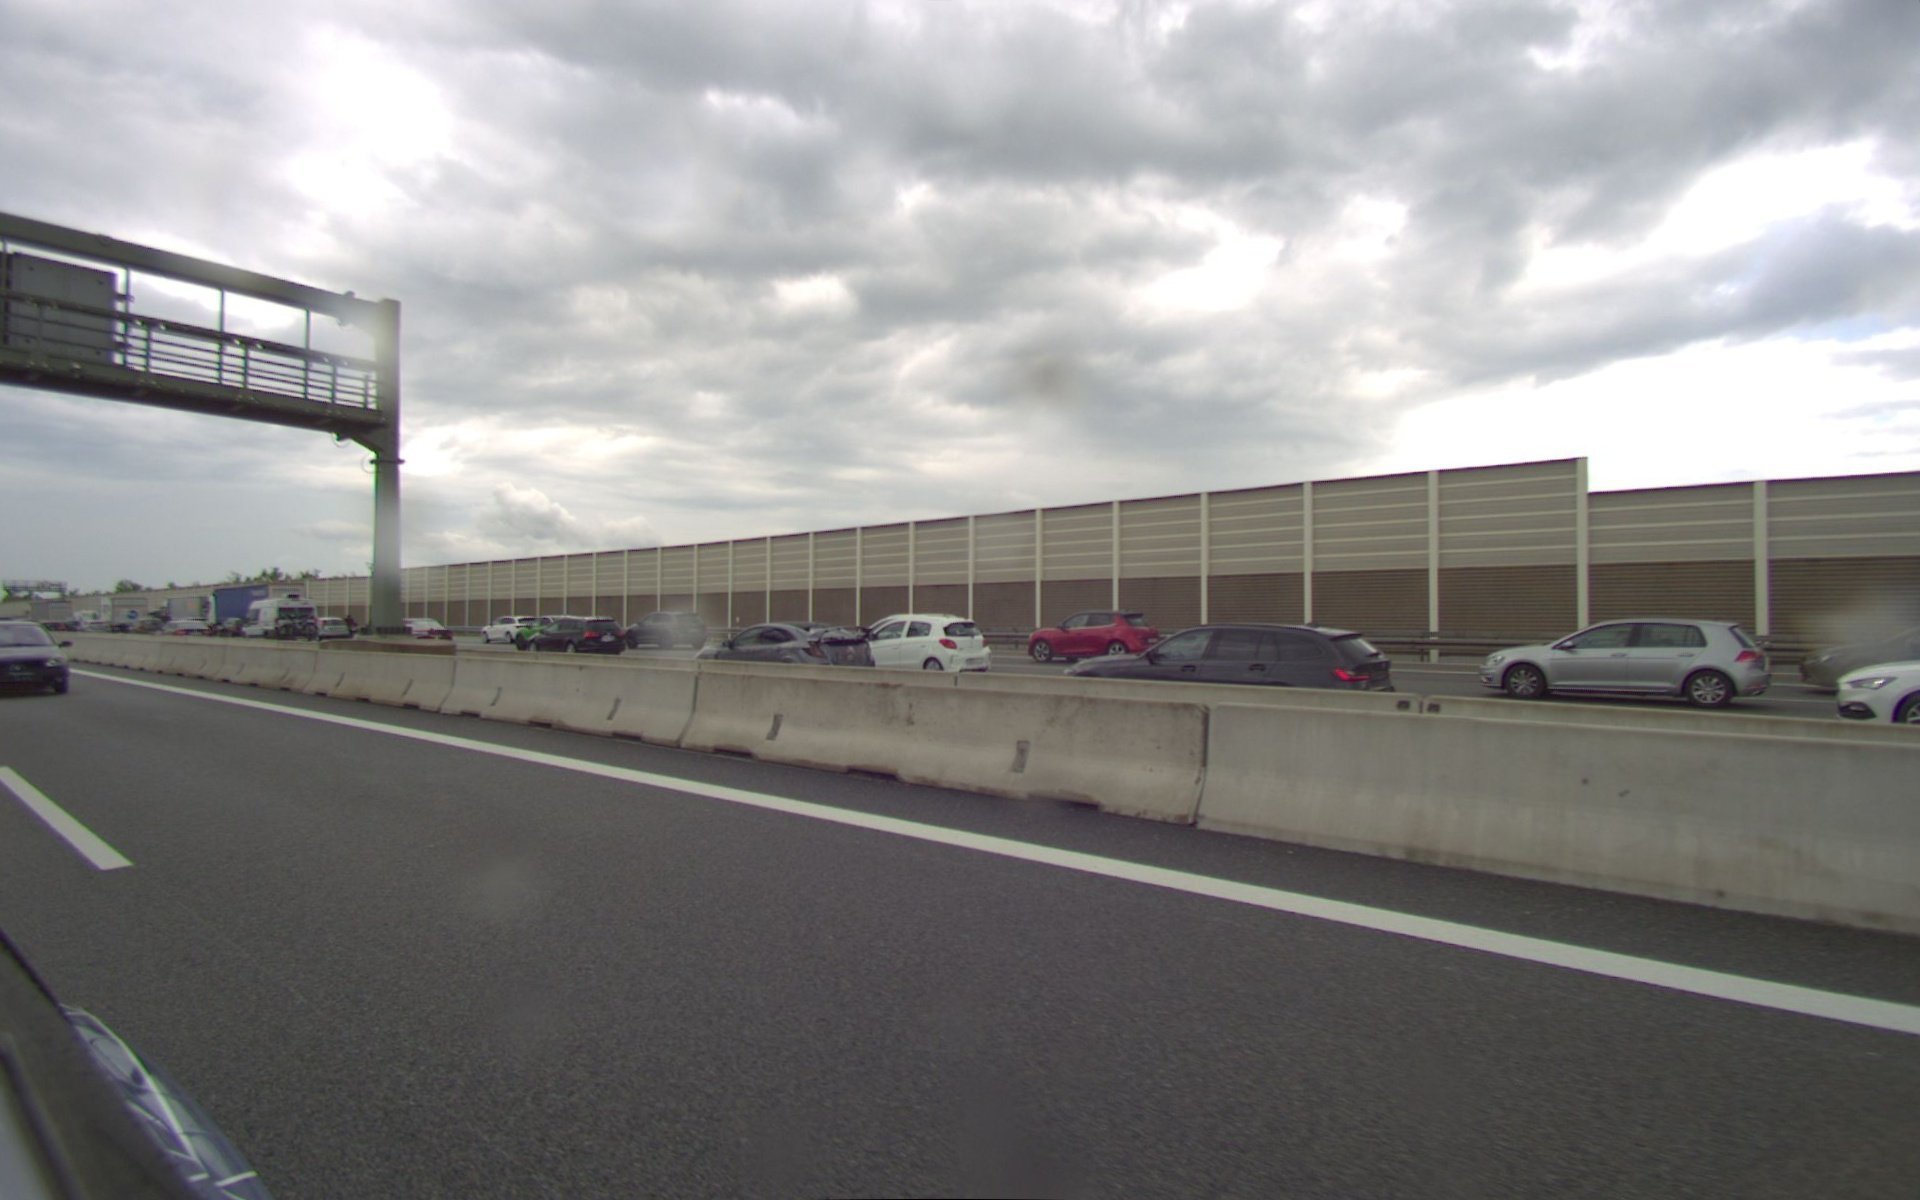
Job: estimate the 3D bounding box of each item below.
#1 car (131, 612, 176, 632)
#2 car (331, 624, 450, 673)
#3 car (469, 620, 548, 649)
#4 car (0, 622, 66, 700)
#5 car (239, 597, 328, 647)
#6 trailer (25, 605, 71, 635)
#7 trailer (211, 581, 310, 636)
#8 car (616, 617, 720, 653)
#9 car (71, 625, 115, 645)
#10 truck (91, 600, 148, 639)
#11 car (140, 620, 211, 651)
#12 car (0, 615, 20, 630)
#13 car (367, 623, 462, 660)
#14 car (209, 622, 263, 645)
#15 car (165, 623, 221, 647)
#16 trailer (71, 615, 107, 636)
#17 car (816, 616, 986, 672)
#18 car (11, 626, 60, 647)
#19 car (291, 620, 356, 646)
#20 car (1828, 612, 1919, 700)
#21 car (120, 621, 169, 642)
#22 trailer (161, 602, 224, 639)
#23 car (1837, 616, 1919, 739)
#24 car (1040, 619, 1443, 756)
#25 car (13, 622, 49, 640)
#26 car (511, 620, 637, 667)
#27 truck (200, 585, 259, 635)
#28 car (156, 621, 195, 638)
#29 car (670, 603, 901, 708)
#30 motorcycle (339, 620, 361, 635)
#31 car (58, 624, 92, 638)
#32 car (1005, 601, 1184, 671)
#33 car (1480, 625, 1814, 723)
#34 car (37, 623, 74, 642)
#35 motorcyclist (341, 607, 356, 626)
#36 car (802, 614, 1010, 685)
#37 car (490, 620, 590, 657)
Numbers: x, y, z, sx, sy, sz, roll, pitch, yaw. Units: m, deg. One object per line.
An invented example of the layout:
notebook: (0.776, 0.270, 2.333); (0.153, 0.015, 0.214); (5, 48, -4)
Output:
car: (-68.924, 1.863, 86.461); (4.993, 1.612, 2.039); (-1, -1, 40)
car: (-19.424, 1.592, 34.426); (4.996, 1.502, 2.038); (-1, -1, 42)
car: (-24.361, 1.821, 54.484); (4.996, 1.502, 2.038); (-1, -1, 42)
car: (-18.812, 1.152, 19.716); (3.997, 1.413, 1.558); (-2, -1, 41)
car: (-36.957, 1.181, 55.168); (7.084, 2.569, 2.358); (-1, -1, 42)
trailer: (-126.658, 2.790, 140.473); (14.441, 4.062, 2.733); (-2, -1, 40)
trailer: (-55.795, 0.755, 80.501); (14.439, 4.062, 2.733); (-2, -1, 40)
car: (-12.784, 1.485, 44.178); (4.996, 1.502, 2.038); (-1, -1, 42)
car: (-74.007, 2.939, 86.390); (4.993, 1.612, 2.039); (-1, -1, 40)
truck: (-81.422, 1.901, 97.952); (9.990, 3.554, 2.668); (-2, -1, 41)
car: (-40.455, 1.804, 52.135); (4.996, 1.502, 2.038); (-1, -1, 42)
car: (-87.985, 2.087, 92.813); (5.594, 1.309, 1.855); (-2, -2, 39)
car: (-23.623, 1.749, 43.732); (4.996, 1.502, 2.038); (-1, -1, 42)
car: (-51.197, 2.337, 71.521); (4.996, 1.502, 2.038); (-1, -1, 42)
car: (-50.532, 2.255, 66.649); (4.996, 1.502, 2.038); (-1, -1, 42)
trailer: (-106.333, 3.115, 123.550); (6.080, 2.514, 2.434); (-2, -2, 40)
car: (-1.794, 1.216, 29.416); (4.996, 1.502, 2.038); (-1, -1, 42)
car: (-71.384, 2.808, 78.111); (4.991, 1.502, 2.040); (-1, -1, 38)
car: (-38.524, 1.949, 61.197); (4.996, 1.502, 2.038); (-1, -1, 42)
car: (17.602, 0.952, 17.434); (3.998, 1.464, 1.782); (-2, -1, 41)
car: (-60.884, 2.312, 75.522); (4.996, 1.502, 2.038); (-1, -1, 42)
trailer: (-90.128, 2.435, 118.699); (13.848, 4.062, 2.906); (-2, -1, 40)
car: (12.988, 0.893, 11.510); (4.522, 1.427, 2.038); (-1, -1, 42)
car: (3.697, 1.044, 13.960); (4.996, 1.546, 2.038); (-1, -1, 42)
car: (-97.866, 3.296, 106.638); (4.771, 1.830, 2.041); (-2, -2, 38)
car: (-13.435, 1.459, 35.099); (4.996, 1.502, 2.038); (-1, -1, 42)
truck: (-61.589, 0.910, 85.317); (5.721, 4.065, 2.717); (-2, -1, 40)
car: (-77.307, 2.909, 99.727); (4.993, 1.612, 2.039); (-1, -1, 40)
car: (-3.685, 1.046, 20.745); (4.996, 1.894, 2.038); (-1, -1, 42)
motorcycle: (-40.926, 1.840, 67.929); (2.429, 1.015, 0.512); (-2, -1, 41)
car: (-95.959, 3.330, 109.710); (4.994, 1.502, 2.039); (-1, -1, 41)
car: (3.907, 1.022, 29.950); (4.996, 1.894, 2.038); (-1, -1, 42)
car: (11.663, 1.158, 17.367); (4.522, 1.427, 2.038); (-1, -1, 42)
car: (-87.068, 3.158, 97.390); (5.009, 1.712, 1.855); (-2, -2, 39)
motorcyclist: (-41.100, 1.129, 68.049); (0.796, 1.233, 0.630); (-2, -1, 41)
car: (-1.374, 1.105, 24.103); (4.996, 1.502, 2.038); (-1, -1, 42)
car: (-18.174, 1.631, 43.643); (4.996, 1.502, 2.038); (-1, -1, 42)
